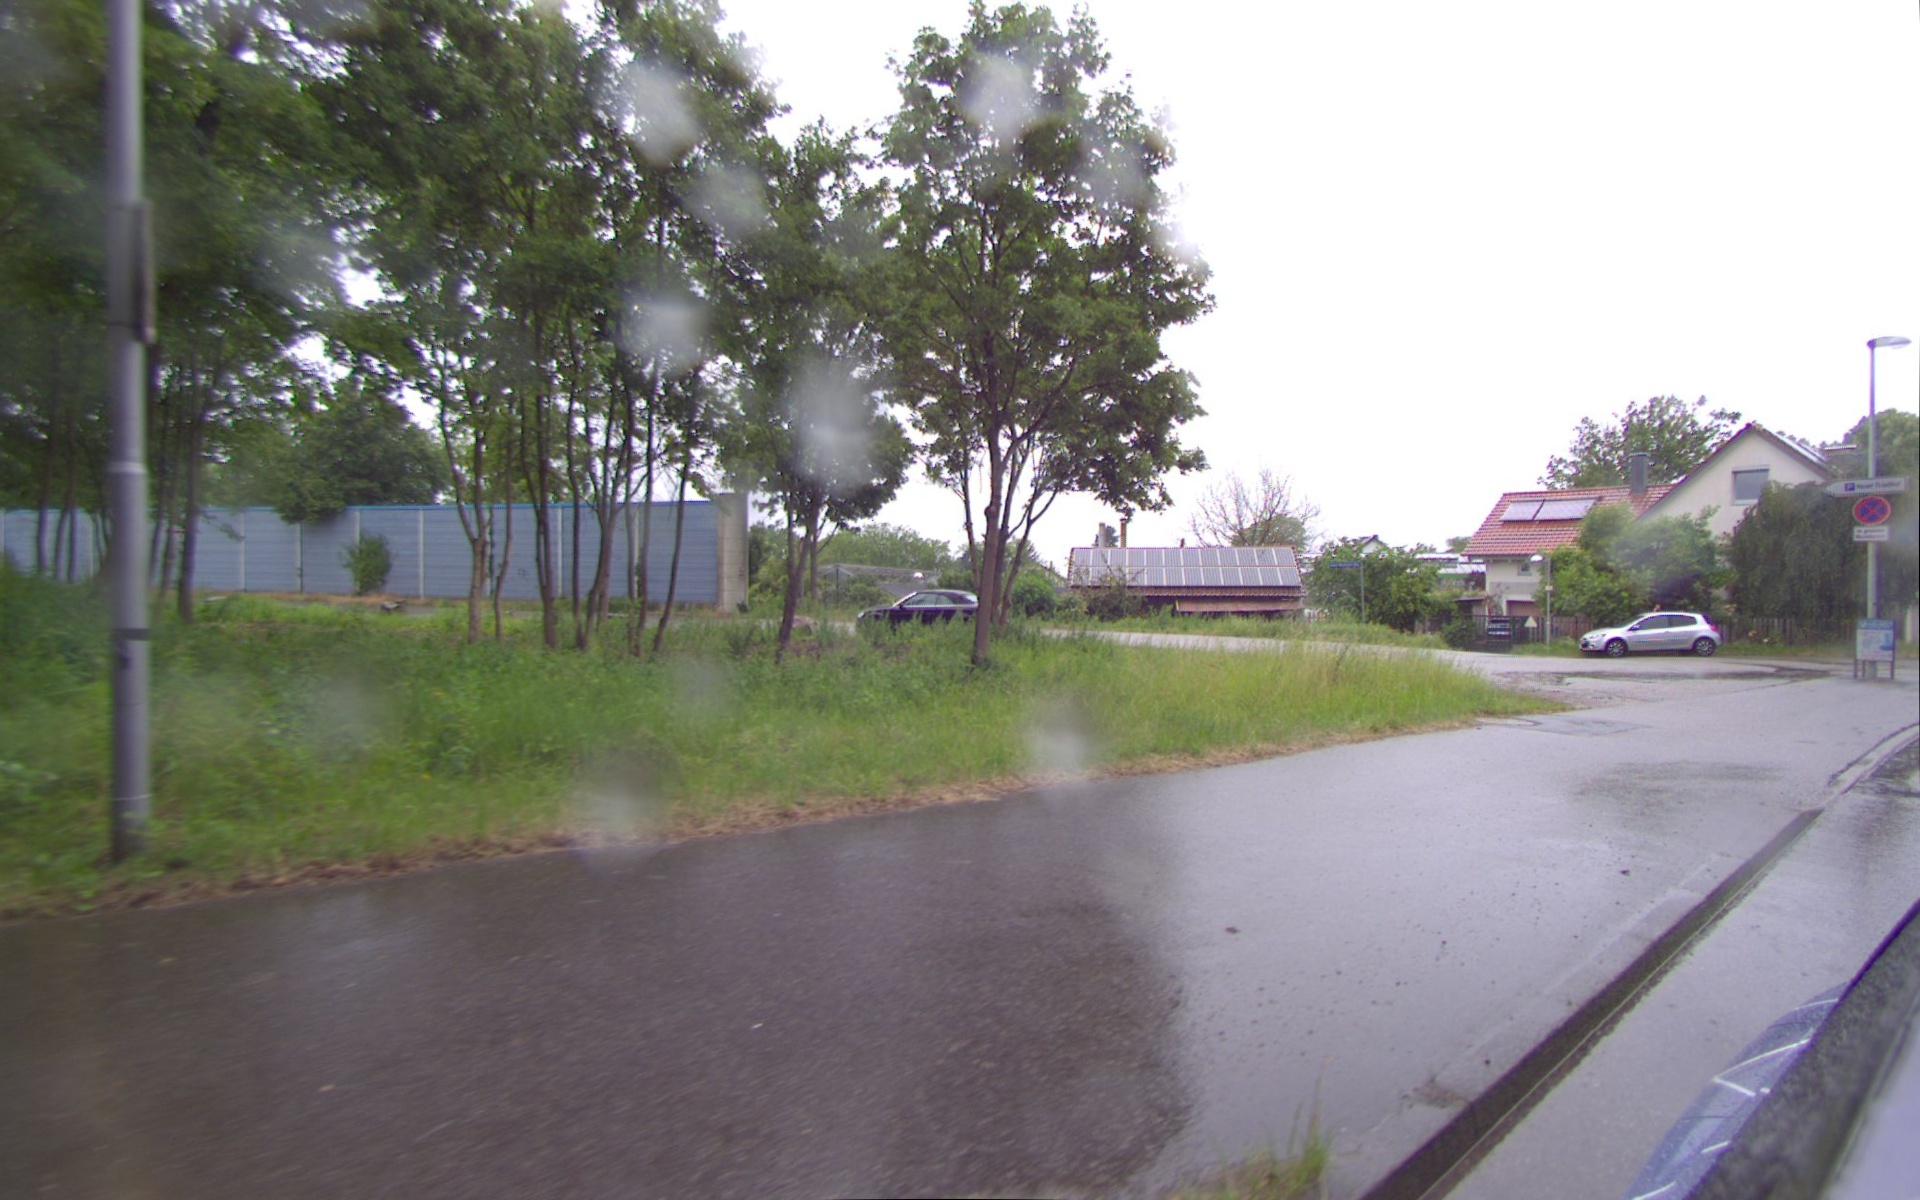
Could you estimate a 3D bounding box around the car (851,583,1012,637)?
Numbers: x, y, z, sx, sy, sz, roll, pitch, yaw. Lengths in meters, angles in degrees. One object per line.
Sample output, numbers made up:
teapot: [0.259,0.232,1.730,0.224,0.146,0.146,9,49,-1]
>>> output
car: [-0.755,0.274,27.746,4.054,1.376,1.895,-1,-1,17]

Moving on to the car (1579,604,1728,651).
car: [23.591,0.935,34.590,3.806,1.551,1.709,-1,-1,19]
